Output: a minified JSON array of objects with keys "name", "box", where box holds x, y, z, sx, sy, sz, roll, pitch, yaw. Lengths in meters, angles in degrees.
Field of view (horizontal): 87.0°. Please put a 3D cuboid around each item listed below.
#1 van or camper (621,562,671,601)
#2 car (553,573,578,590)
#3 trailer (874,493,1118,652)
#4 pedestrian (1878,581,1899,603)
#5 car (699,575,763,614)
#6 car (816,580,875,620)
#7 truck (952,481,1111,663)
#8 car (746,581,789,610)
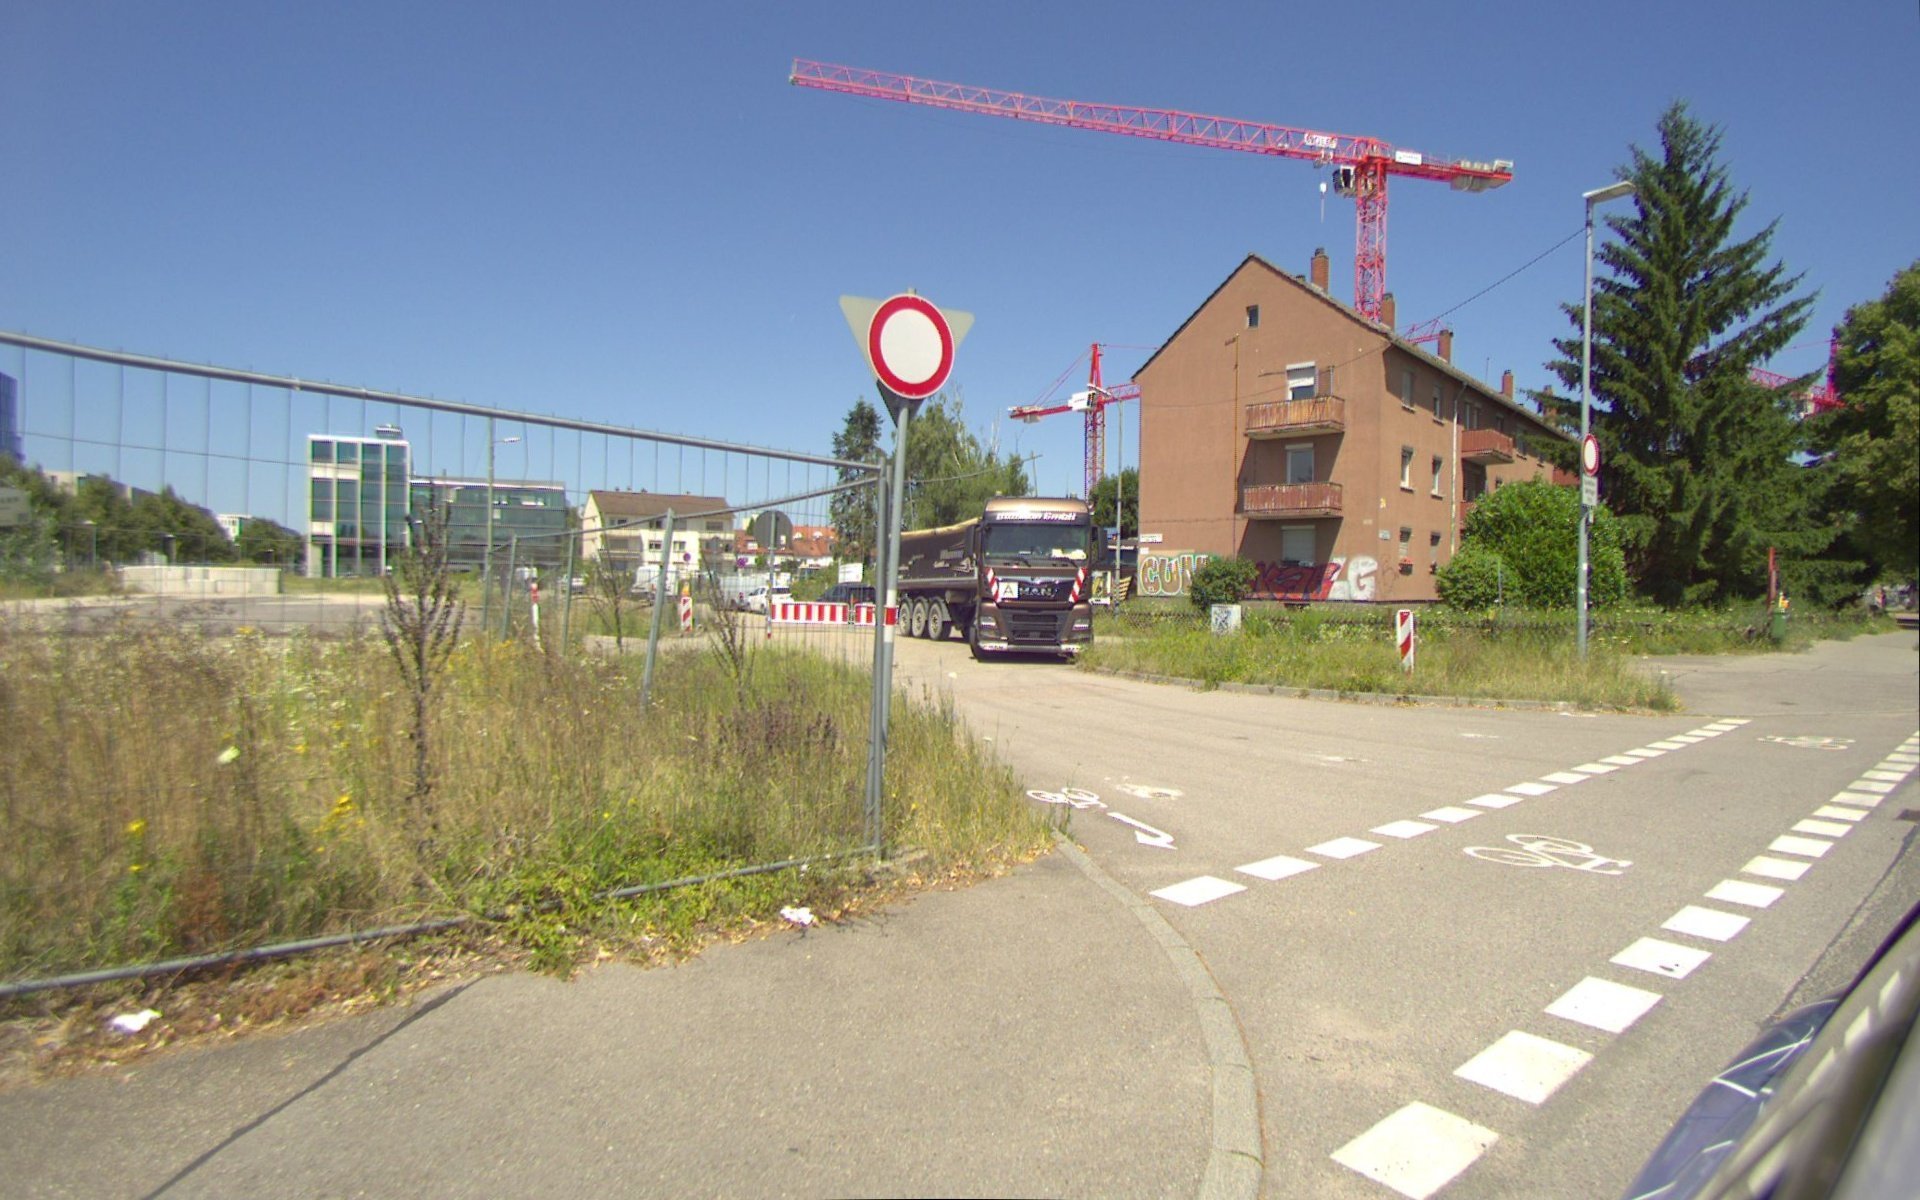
[{"name":"van or camper","box":[-22.372,-1.358,71.871,1.891,2.634,7.010,0,1,-30]},{"name":"car","box":[-38.760,-1.824,99.364,1.647,1.606,3.625,-1,0,-31]},{"name":"trailer","box":[0.549,-0.710,27.548,3.098,3.577,9.011,1,1,-23]},{"name":"pedestrian","box":[65.838,-0.598,71.737,0.670,1.536,1.023,0,1,-41]},{"name":"car","box":[-12.829,-0.346,56.554,1.751,2.039,4.682,0,1,-36]},{"name":"car","box":[-4.990,-0.010,43.689,1.342,1.633,3.423,0,1,-28]},{"name":"truck","box":[1.447,-0.608,22.584,3.105,3.577,4.964,1,1,1]},{"name":"car","box":[-9.958,-0.235,52.254,1.390,1.423,2.794,0,1,-29]}]
